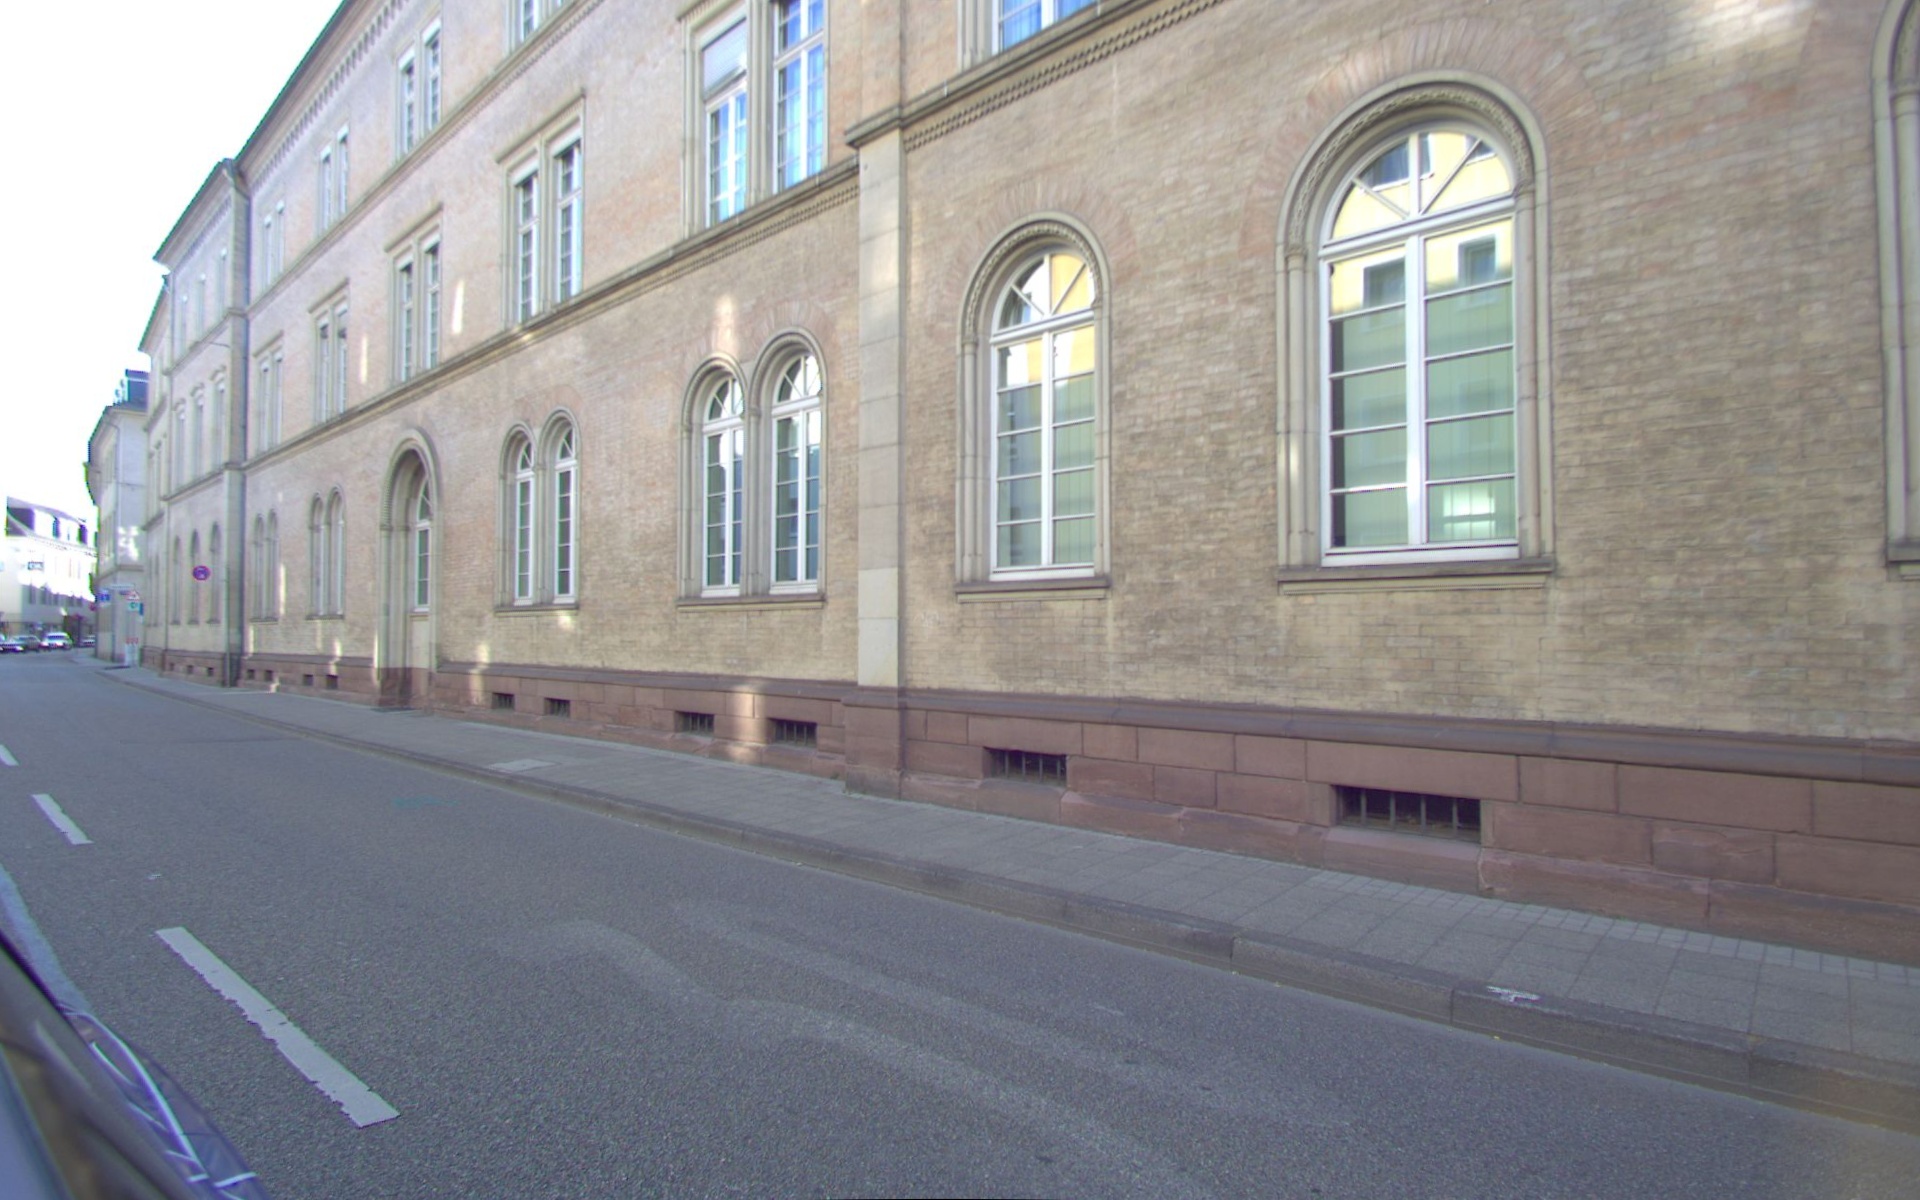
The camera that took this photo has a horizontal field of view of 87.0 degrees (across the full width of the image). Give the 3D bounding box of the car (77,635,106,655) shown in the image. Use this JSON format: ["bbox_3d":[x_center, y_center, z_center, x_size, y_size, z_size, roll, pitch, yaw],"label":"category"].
[{"bbox_3d":[-80.398,4.160,93.706,1.638,1.737,3.748,1,-3,-36],"label":"car"}]

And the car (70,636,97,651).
[{"bbox_3d":[-109.252,5.415,126.177,1.896,1.737,4.242,1,-2,-31],"label":"car"}]

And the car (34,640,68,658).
[{"bbox_3d":[-90.387,4.820,100.668,1.892,1.735,4.972,1,-2,-35],"label":"car"}]

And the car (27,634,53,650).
[{"bbox_3d":[-102.272,4.696,112.534,1.511,1.737,3.749,1,-2,-34],"label":"car"}]

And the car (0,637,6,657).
[{"bbox_3d":[-85.888,4.165,89.706,1.512,1.737,3.747,1,-2,-37],"label":"car"}]

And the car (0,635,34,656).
[{"bbox_3d":[-82.548,3.964,88.470,1.833,1.737,3.748,1,-3,-35],"label":"car"}]
